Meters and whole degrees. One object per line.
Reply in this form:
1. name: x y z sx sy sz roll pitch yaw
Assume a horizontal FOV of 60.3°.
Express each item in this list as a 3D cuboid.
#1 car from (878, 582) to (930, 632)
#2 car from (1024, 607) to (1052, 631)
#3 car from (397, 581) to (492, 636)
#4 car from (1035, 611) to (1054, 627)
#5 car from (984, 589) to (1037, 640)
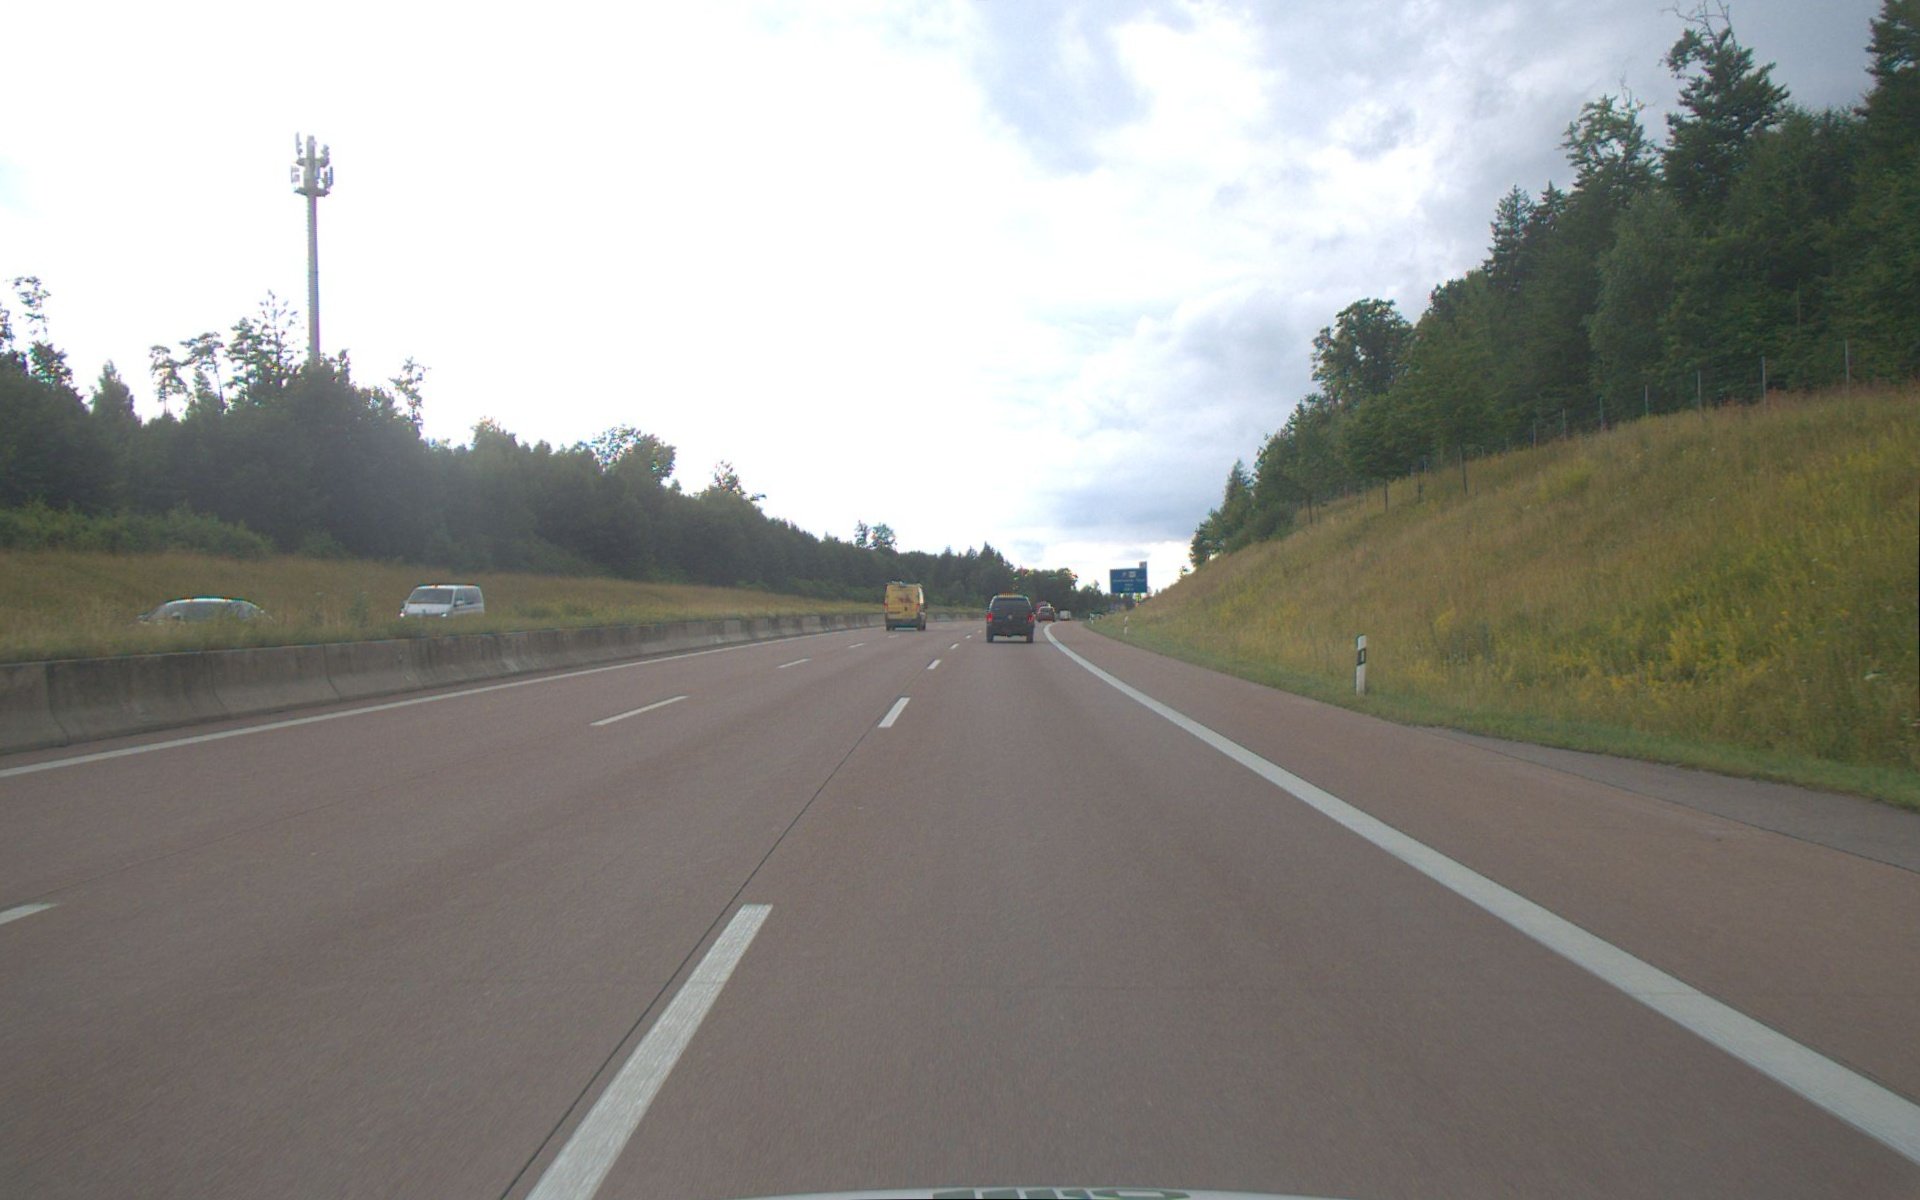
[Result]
1. car: -3.169 0.428 95.362 2.407 2.754 5.615 -1 -2 4
2. car: 5.626 1.414 119.174 1.936 1.677 4.620 1 -1 3
3. car: -19.125 0.360 61.647 1.879 1.908 5.150 1 -1 0
4. car: 9.231 2.050 180.444 1.936 1.677 4.621 -1 -2 4
5. car: 2.011 0.608 66.476 2.002 1.930 5.577 0 -2 1
